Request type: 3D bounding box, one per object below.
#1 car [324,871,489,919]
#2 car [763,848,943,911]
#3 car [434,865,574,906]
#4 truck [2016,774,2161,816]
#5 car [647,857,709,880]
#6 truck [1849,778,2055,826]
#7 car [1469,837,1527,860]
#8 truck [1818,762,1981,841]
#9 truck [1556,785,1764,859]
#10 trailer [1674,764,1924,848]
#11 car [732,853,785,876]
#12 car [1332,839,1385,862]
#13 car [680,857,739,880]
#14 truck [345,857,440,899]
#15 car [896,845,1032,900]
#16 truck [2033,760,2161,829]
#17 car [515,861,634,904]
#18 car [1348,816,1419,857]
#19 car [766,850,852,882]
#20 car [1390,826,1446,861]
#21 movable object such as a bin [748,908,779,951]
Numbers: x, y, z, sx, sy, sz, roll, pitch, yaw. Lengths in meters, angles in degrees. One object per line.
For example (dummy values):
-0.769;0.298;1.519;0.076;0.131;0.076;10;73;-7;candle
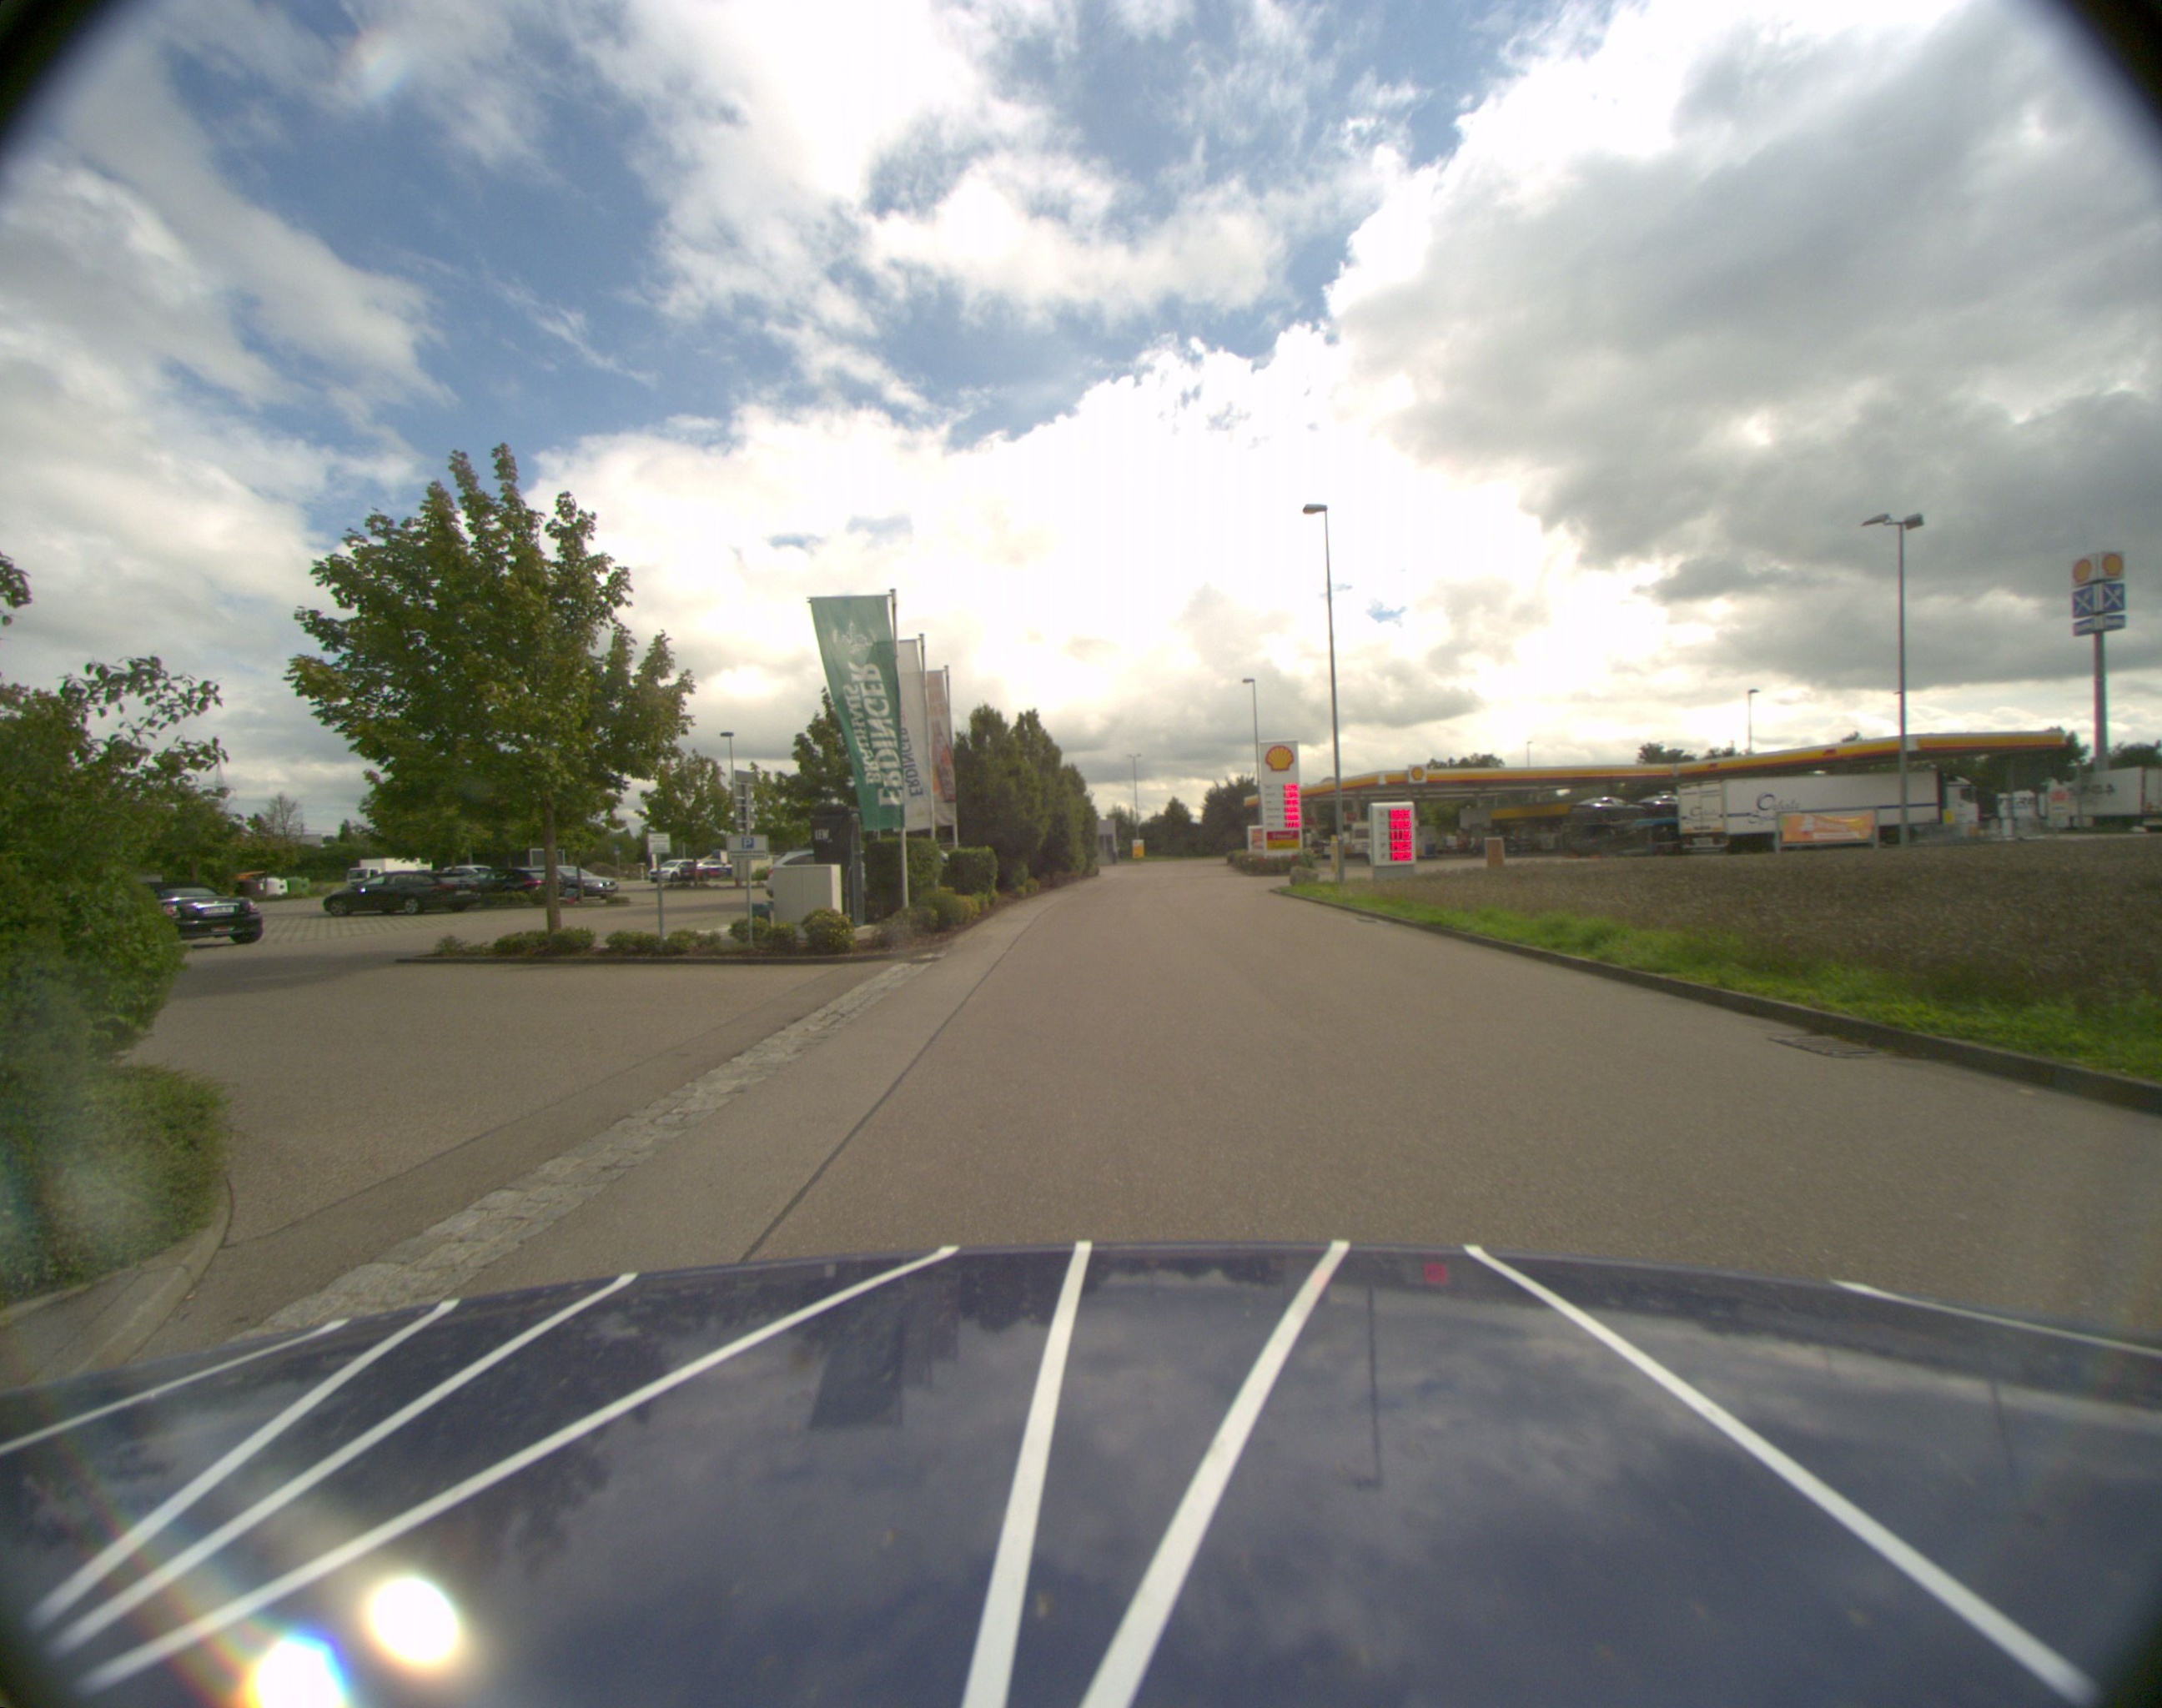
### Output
-22.496;1.344;25.420;4.270;1.338;1.722;-3;0;8;car
-6.664;0.730;22.420;4.672;1.687;1.920;-1;2;12;car
-22.145;1.204;29.204;4.270;1.338;1.722;-3;0;8;car
109.880;-6.289;80.915;12.773;3.871;2.829;-1;2;35;truck
-30.497;1.100;57.615;1.713;1.510;4.005;-2;1;18;car
84.627;-4.931;74.414;12.977;3.871;2.829;-1;2;37;truck
31.104;-0.409;56.780;1.717;1.592;3.757;-3;0;-13;car
46.214;-2.925;42.968;7.169;4.001;2.710;-3;1;-9;truck
35.219;-2.007;46.090;13.266;3.902;2.748;-3;2;-17;truck
39.535;-2.613;41.880;12.848;4.001;2.710;-3;1;-9;trailer
-24.363;0.777;57.537;1.720;1.605;4.002;-3;1;10;car
21.458;-0.277;58.721;3.968;1.550;1.995;-3;0;-37;car
-27.902;1.095;57.236;1.603;1.510;4.005;-2;1;18;car
-73.445;2.441;81.334;1.998;4.097;8.548;-3;1;1;truck
-4.075;0.642;26.744;4.357;1.706;1.658;-3;1;8;car
69.233;-3.915;50.880;2.955;4.089;14.774;-1;2;36;truck
-21.105;1.185;31.673;3.992;1.562;2.002;-3;0;18;car
21.947;-1.321;54.994;5.819;2.770;2.218;-3;1;-41;car
-15.895;0.693;44.470;4.357;1.706;1.658;-3;1;9;car
20.172;-0.650;45.413;1.791;2.000;3.889;-2;0;44;car
-5.402;1.286;12.929;0.288;0.680;0.368;-2;1;12;movable object such as a bin
